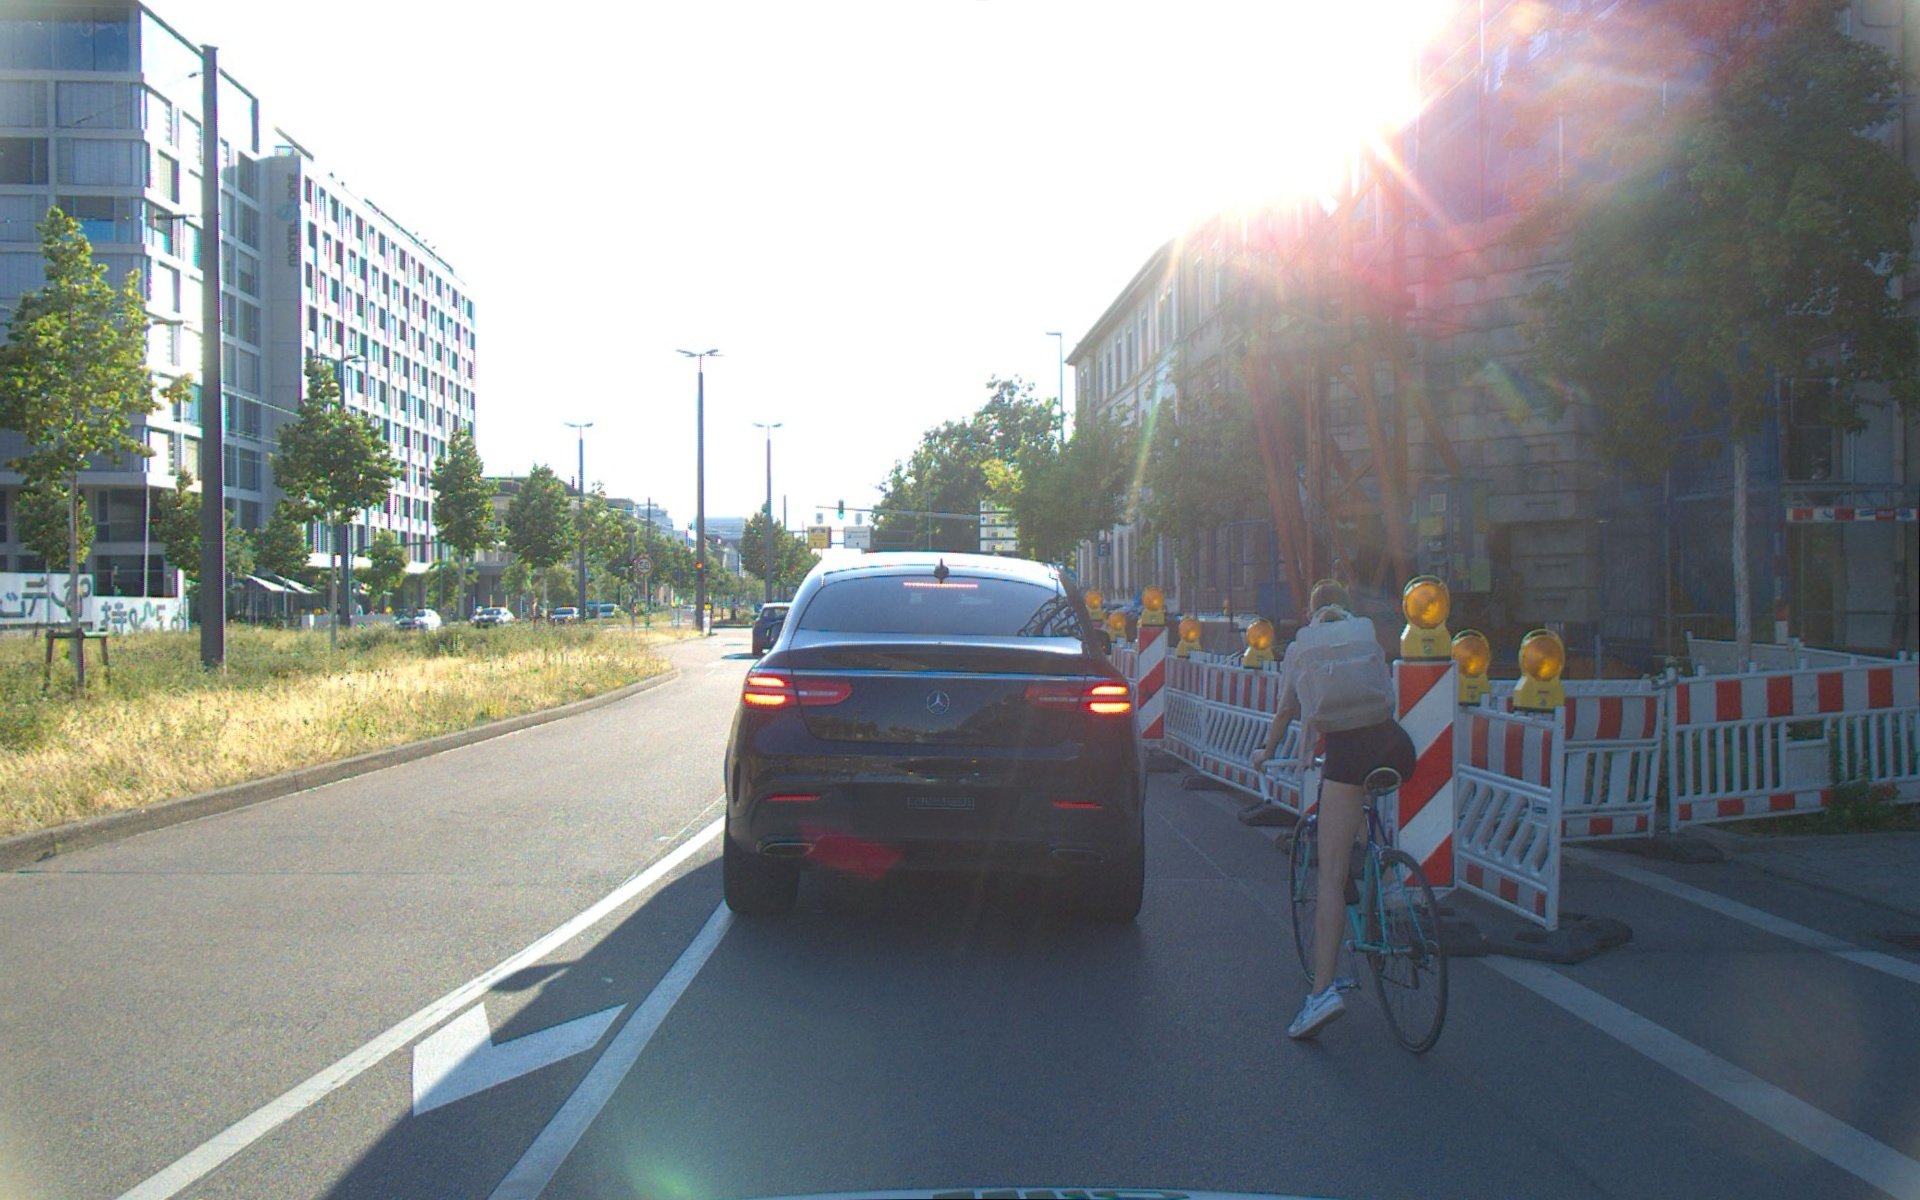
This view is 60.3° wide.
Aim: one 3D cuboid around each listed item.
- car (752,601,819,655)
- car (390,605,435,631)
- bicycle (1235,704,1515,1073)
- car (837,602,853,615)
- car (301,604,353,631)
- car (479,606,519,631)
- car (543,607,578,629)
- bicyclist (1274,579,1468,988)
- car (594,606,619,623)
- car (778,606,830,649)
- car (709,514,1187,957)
[{"bbox_3d":[-4.939,0.778,47.118,1.674,1.467,3.580,1,0,-3],"label":"car"},{"bbox_3d":[-32.858,1.069,99.324,1.674,1.467,3.580,1,0,-3],"label":"car"},{"bbox_3d":[1.471,0.978,6.150,0.502,1.070,1.724,1,0,-3],"label":"bicycle"},{"bbox_3d":[-12.790,0.924,183.354,1.674,1.467,3.580,1,0,-3],"label":"car"},{"bbox_3d":[-36.064,0.990,94.290,1.674,1.467,3.580,1,0,-3],"label":"car"},{"bbox_3d":[-29.094,1.159,104.410,1.674,1.467,3.580,1,0,-3],"label":"car"},{"bbox_3d":[-27.584,1.228,114.358,1.674,1.467,3.580,1,0,-3],"label":"car"},{"bbox_3d":[1.491,0.641,6.063,0.512,1.420,0.614,1,-1,-4],"label":"bicyclist"},{"bbox_3d":[-32.039,1.300,149.888,1.674,1.467,3.580,1,0,-3],"label":"car"},{"bbox_3d":[-5.584,0.968,59.363,1.674,1.467,3.580,1,0,-3],"label":"car"},{"bbox_3d":[-0.076,0.572,8.857,1.953,1.803,3.999,1,0,-1],"label":"car"}]
